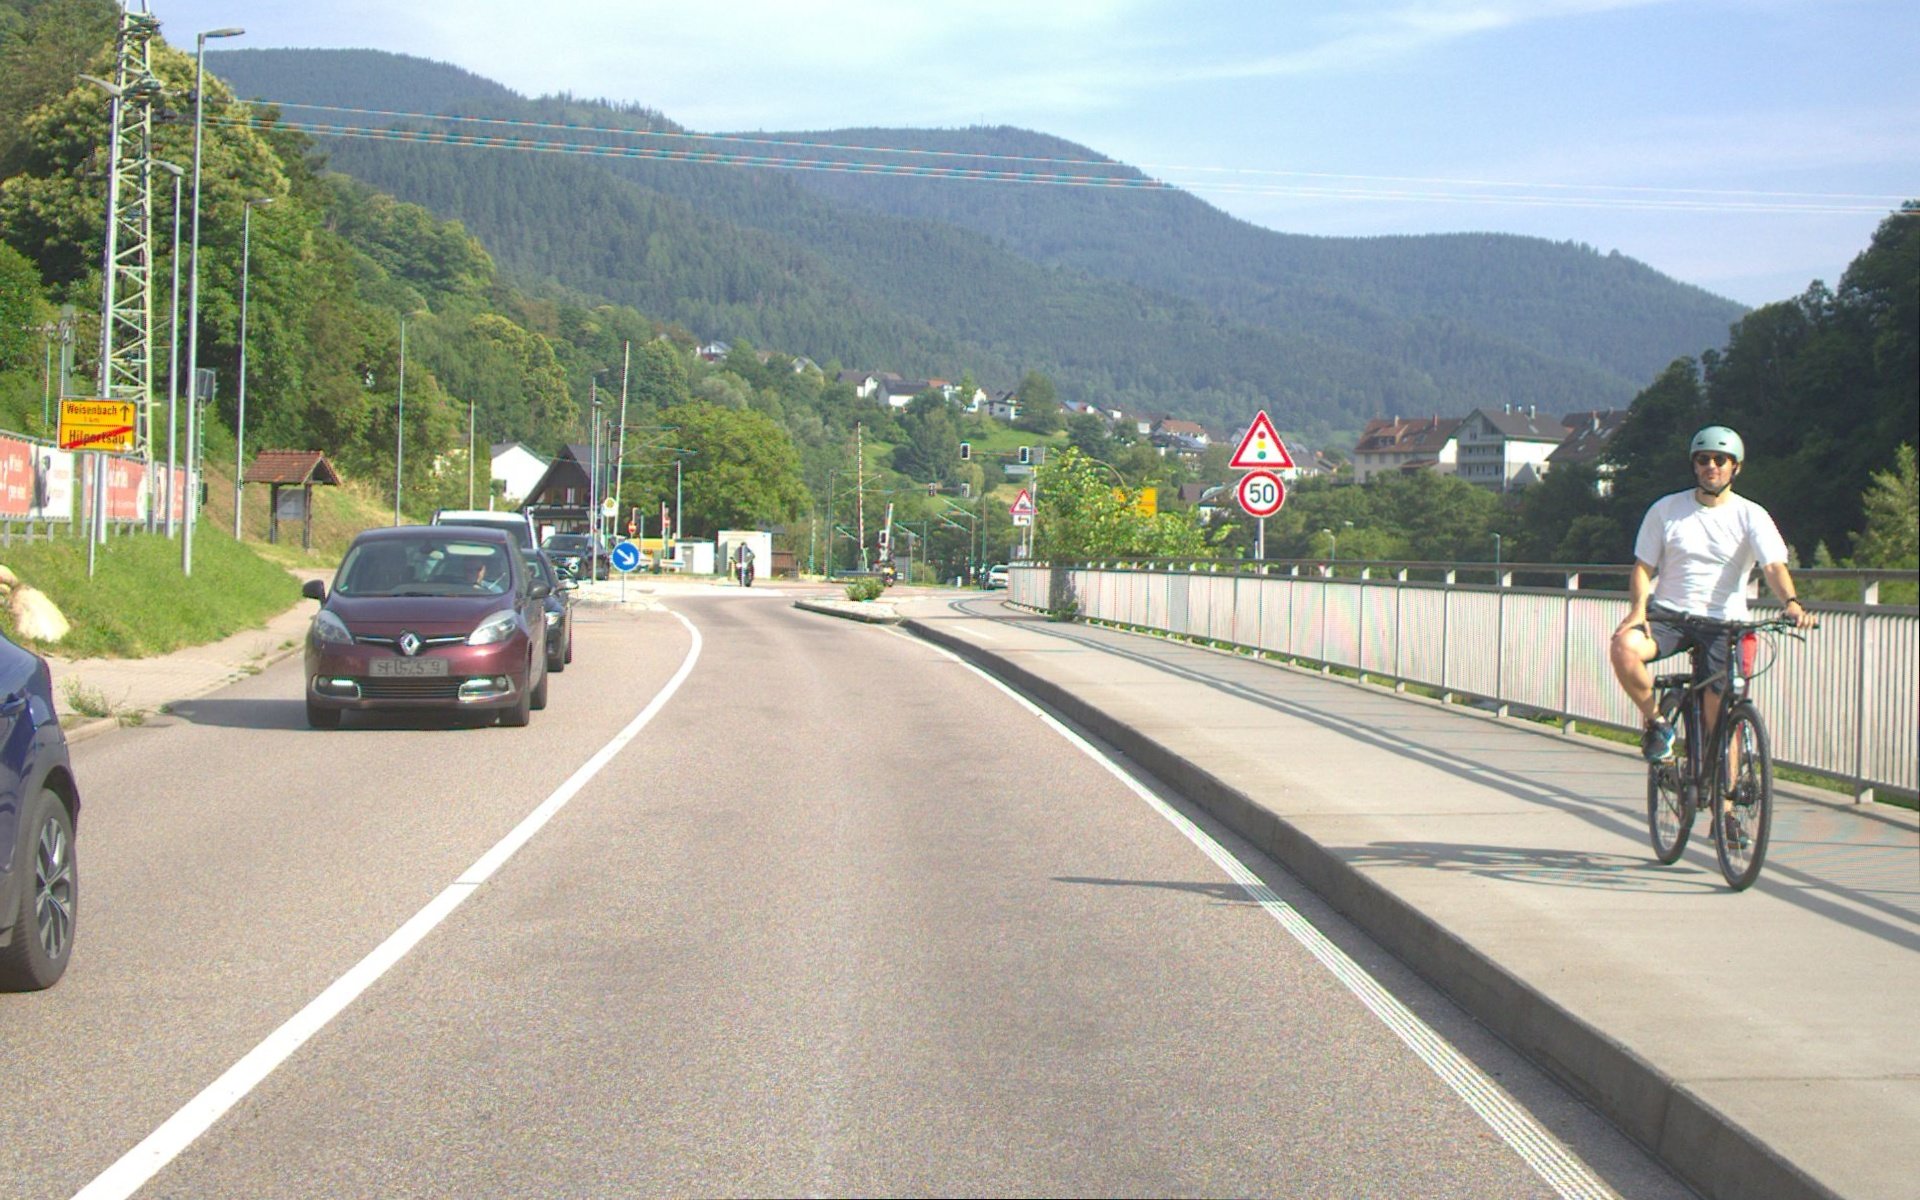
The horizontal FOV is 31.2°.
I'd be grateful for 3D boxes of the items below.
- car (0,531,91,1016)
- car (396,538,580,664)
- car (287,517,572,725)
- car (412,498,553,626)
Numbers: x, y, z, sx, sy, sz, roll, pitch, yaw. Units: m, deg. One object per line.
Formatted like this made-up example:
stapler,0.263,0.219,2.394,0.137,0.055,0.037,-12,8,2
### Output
car,-3.865,0.561,10.007,1.744,1.521,4.000,0,1,-1
car,-5.465,-0.024,40.214,1.773,1.394,4.234,0,1,-3
car,-4.404,0.117,29.140,1.797,1.612,4.463,0,1,-1
car,-7.441,-0.619,53.948,1.896,1.881,5.297,-1,1,-5
